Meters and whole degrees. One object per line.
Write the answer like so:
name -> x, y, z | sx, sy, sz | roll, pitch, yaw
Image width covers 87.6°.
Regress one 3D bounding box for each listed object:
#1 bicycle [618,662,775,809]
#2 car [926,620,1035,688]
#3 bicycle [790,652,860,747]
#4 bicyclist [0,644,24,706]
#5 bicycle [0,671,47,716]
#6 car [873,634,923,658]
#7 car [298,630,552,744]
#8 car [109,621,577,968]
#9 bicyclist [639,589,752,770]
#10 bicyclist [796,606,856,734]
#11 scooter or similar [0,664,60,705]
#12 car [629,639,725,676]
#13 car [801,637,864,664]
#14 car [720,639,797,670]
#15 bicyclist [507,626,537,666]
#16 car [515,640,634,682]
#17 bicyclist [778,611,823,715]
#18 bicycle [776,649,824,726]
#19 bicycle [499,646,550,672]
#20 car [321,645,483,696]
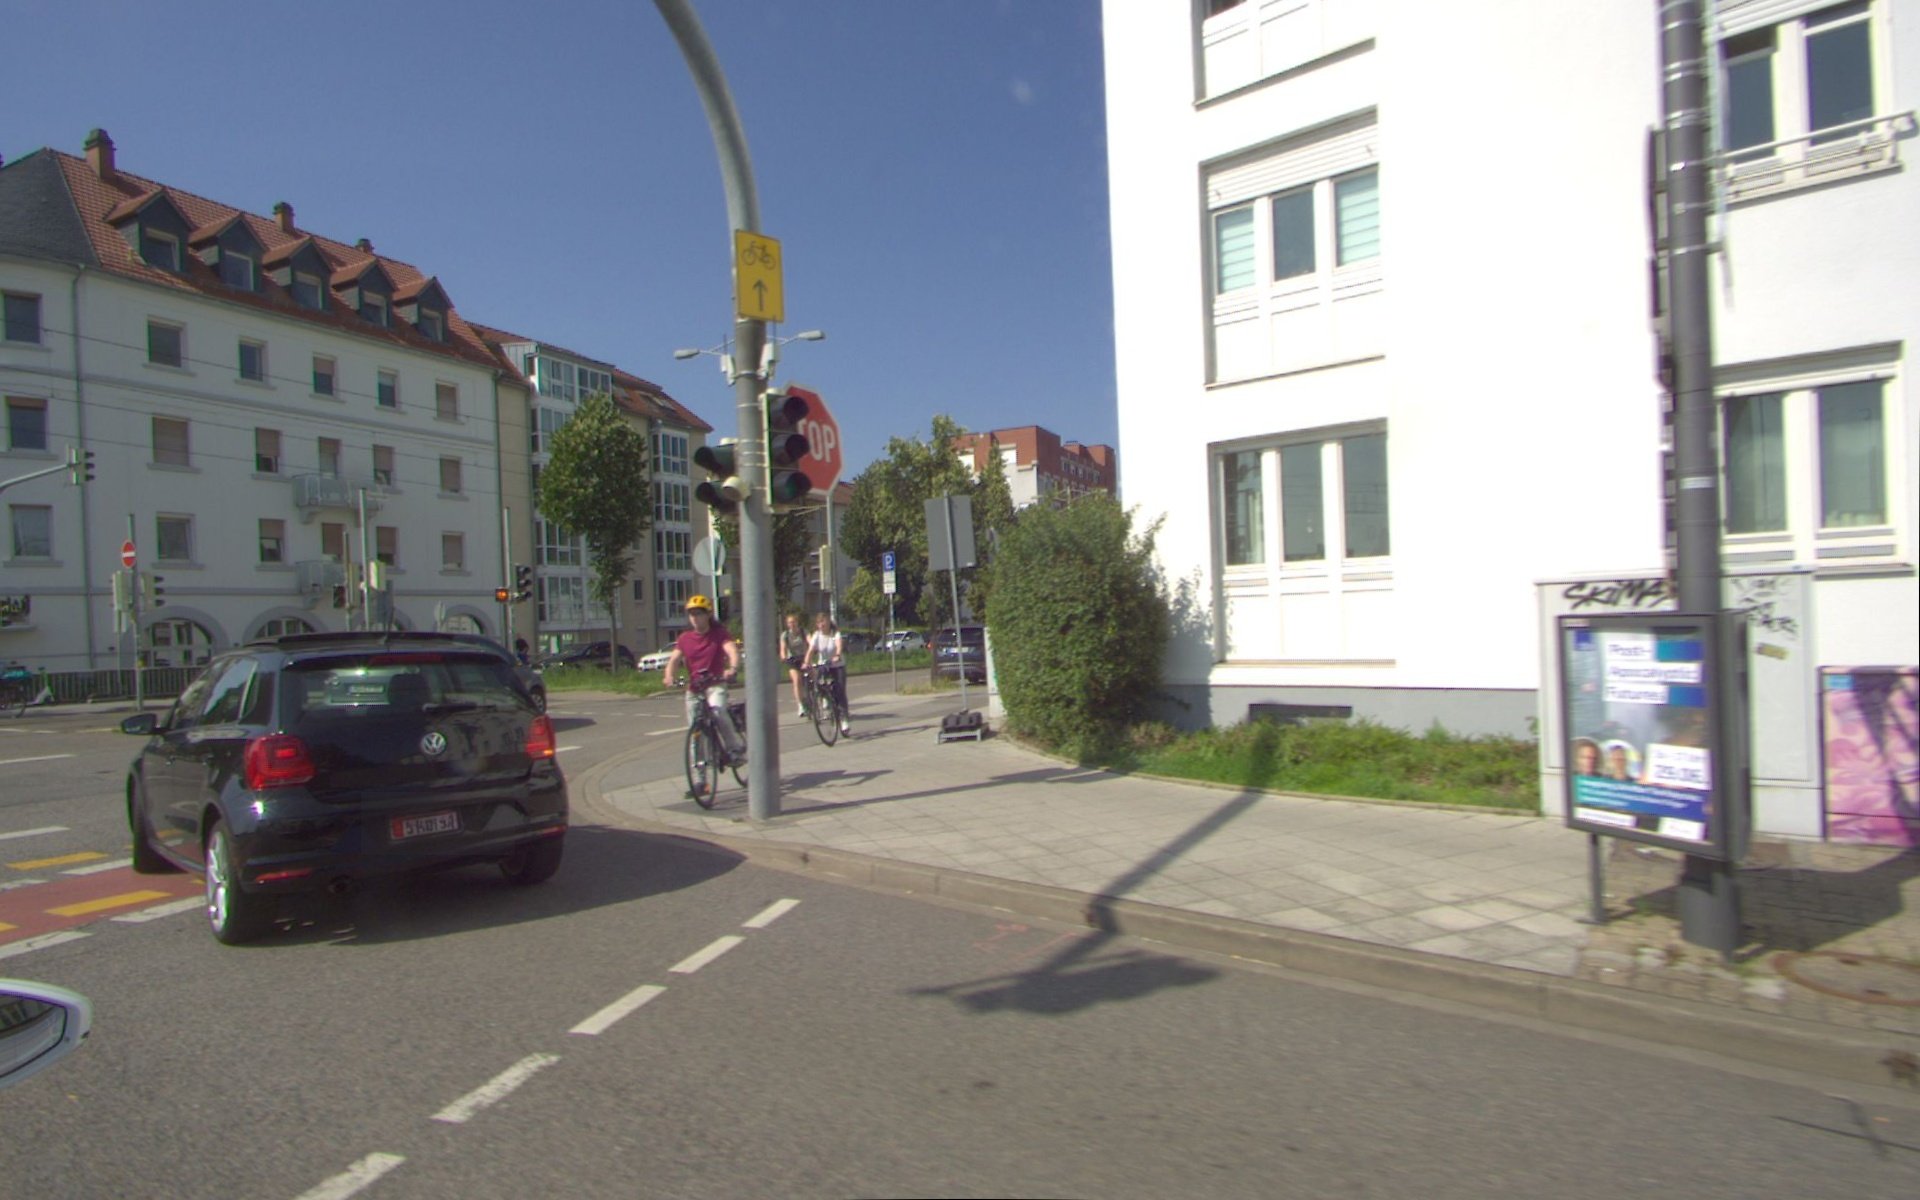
bicycle -> -2.274, 1.140, 8.876 | 0.593, 1.113, 1.814 | -2, -2, 11
car -> 0.625, 1.418, 27.004 | 1.711, 1.658, 3.732 | -3, -2, 22
bicycle -> -1.736, 1.258, 13.117 | 0.616, 1.113, 1.787 | -2, -2, 1
bicyclist -> -22.933, 1.778, 23.616 | 0.899, 1.433, 0.868 | -2, -2, 0
bicycle -> -23.025, 2.236, 23.605 | 2.202, 1.002, 0.868 | -2, -2, 0
car -> -3.831, 2.868, 62.766 | 1.737, 1.371, 3.995 | -3, -3, 18
car -> -8.319, 1.286, 15.973 | 1.664, 1.575, 3.656 | 0, -2, 10
car -> -3.981, 0.916, 6.209 | 3.623, 1.512, 1.581 | -2, -2, 43
bicyclist -> -2.306, 0.685, 8.822 | 0.586, 1.496, 0.917 | -2, -1, 11
bicyclist -> -1.749, 0.906, 13.184 | 0.612, 1.599, 0.918 | -2, -1, 1
scooter or similar -> -27.066, 2.453, 29.118 | 0.336, 1.132, 1.292 | -3, -2, 44
car -> -11.890, 2.400, 42.304 | 1.740, 1.371, 3.989 | -4, -3, 24
car -> -7.030, 2.763, 55.524 | 1.738, 1.371, 3.993 | -3, -3, 20
car -> -9.741, 2.618, 48.727 | 1.739, 1.371, 3.991 | -4, -3, 22
bicyclist -> -18.908, 1.992, 43.234 | 0.997, 1.675, 0.803 | 0, -1, -37
car -> -14.198, 2.216, 37.108 | 1.740, 1.371, 3.988 | -4, -3, 25
bicyclist -> -2.566, 1.006, 16.148 | 0.612, 1.610, 0.918 | -2, -1, -5
bicycle -> -2.554, 1.373, 16.117 | 0.606, 1.113, 1.786 | -2, -1, -6
bicycle -> -18.834, 2.540, 43.277 | 1.889, 1.033, 0.816 | 0, -2, -38
car -> -16.847, 2.096, 30.427 | 1.741, 1.337, 3.985 | -4, -3, 27
